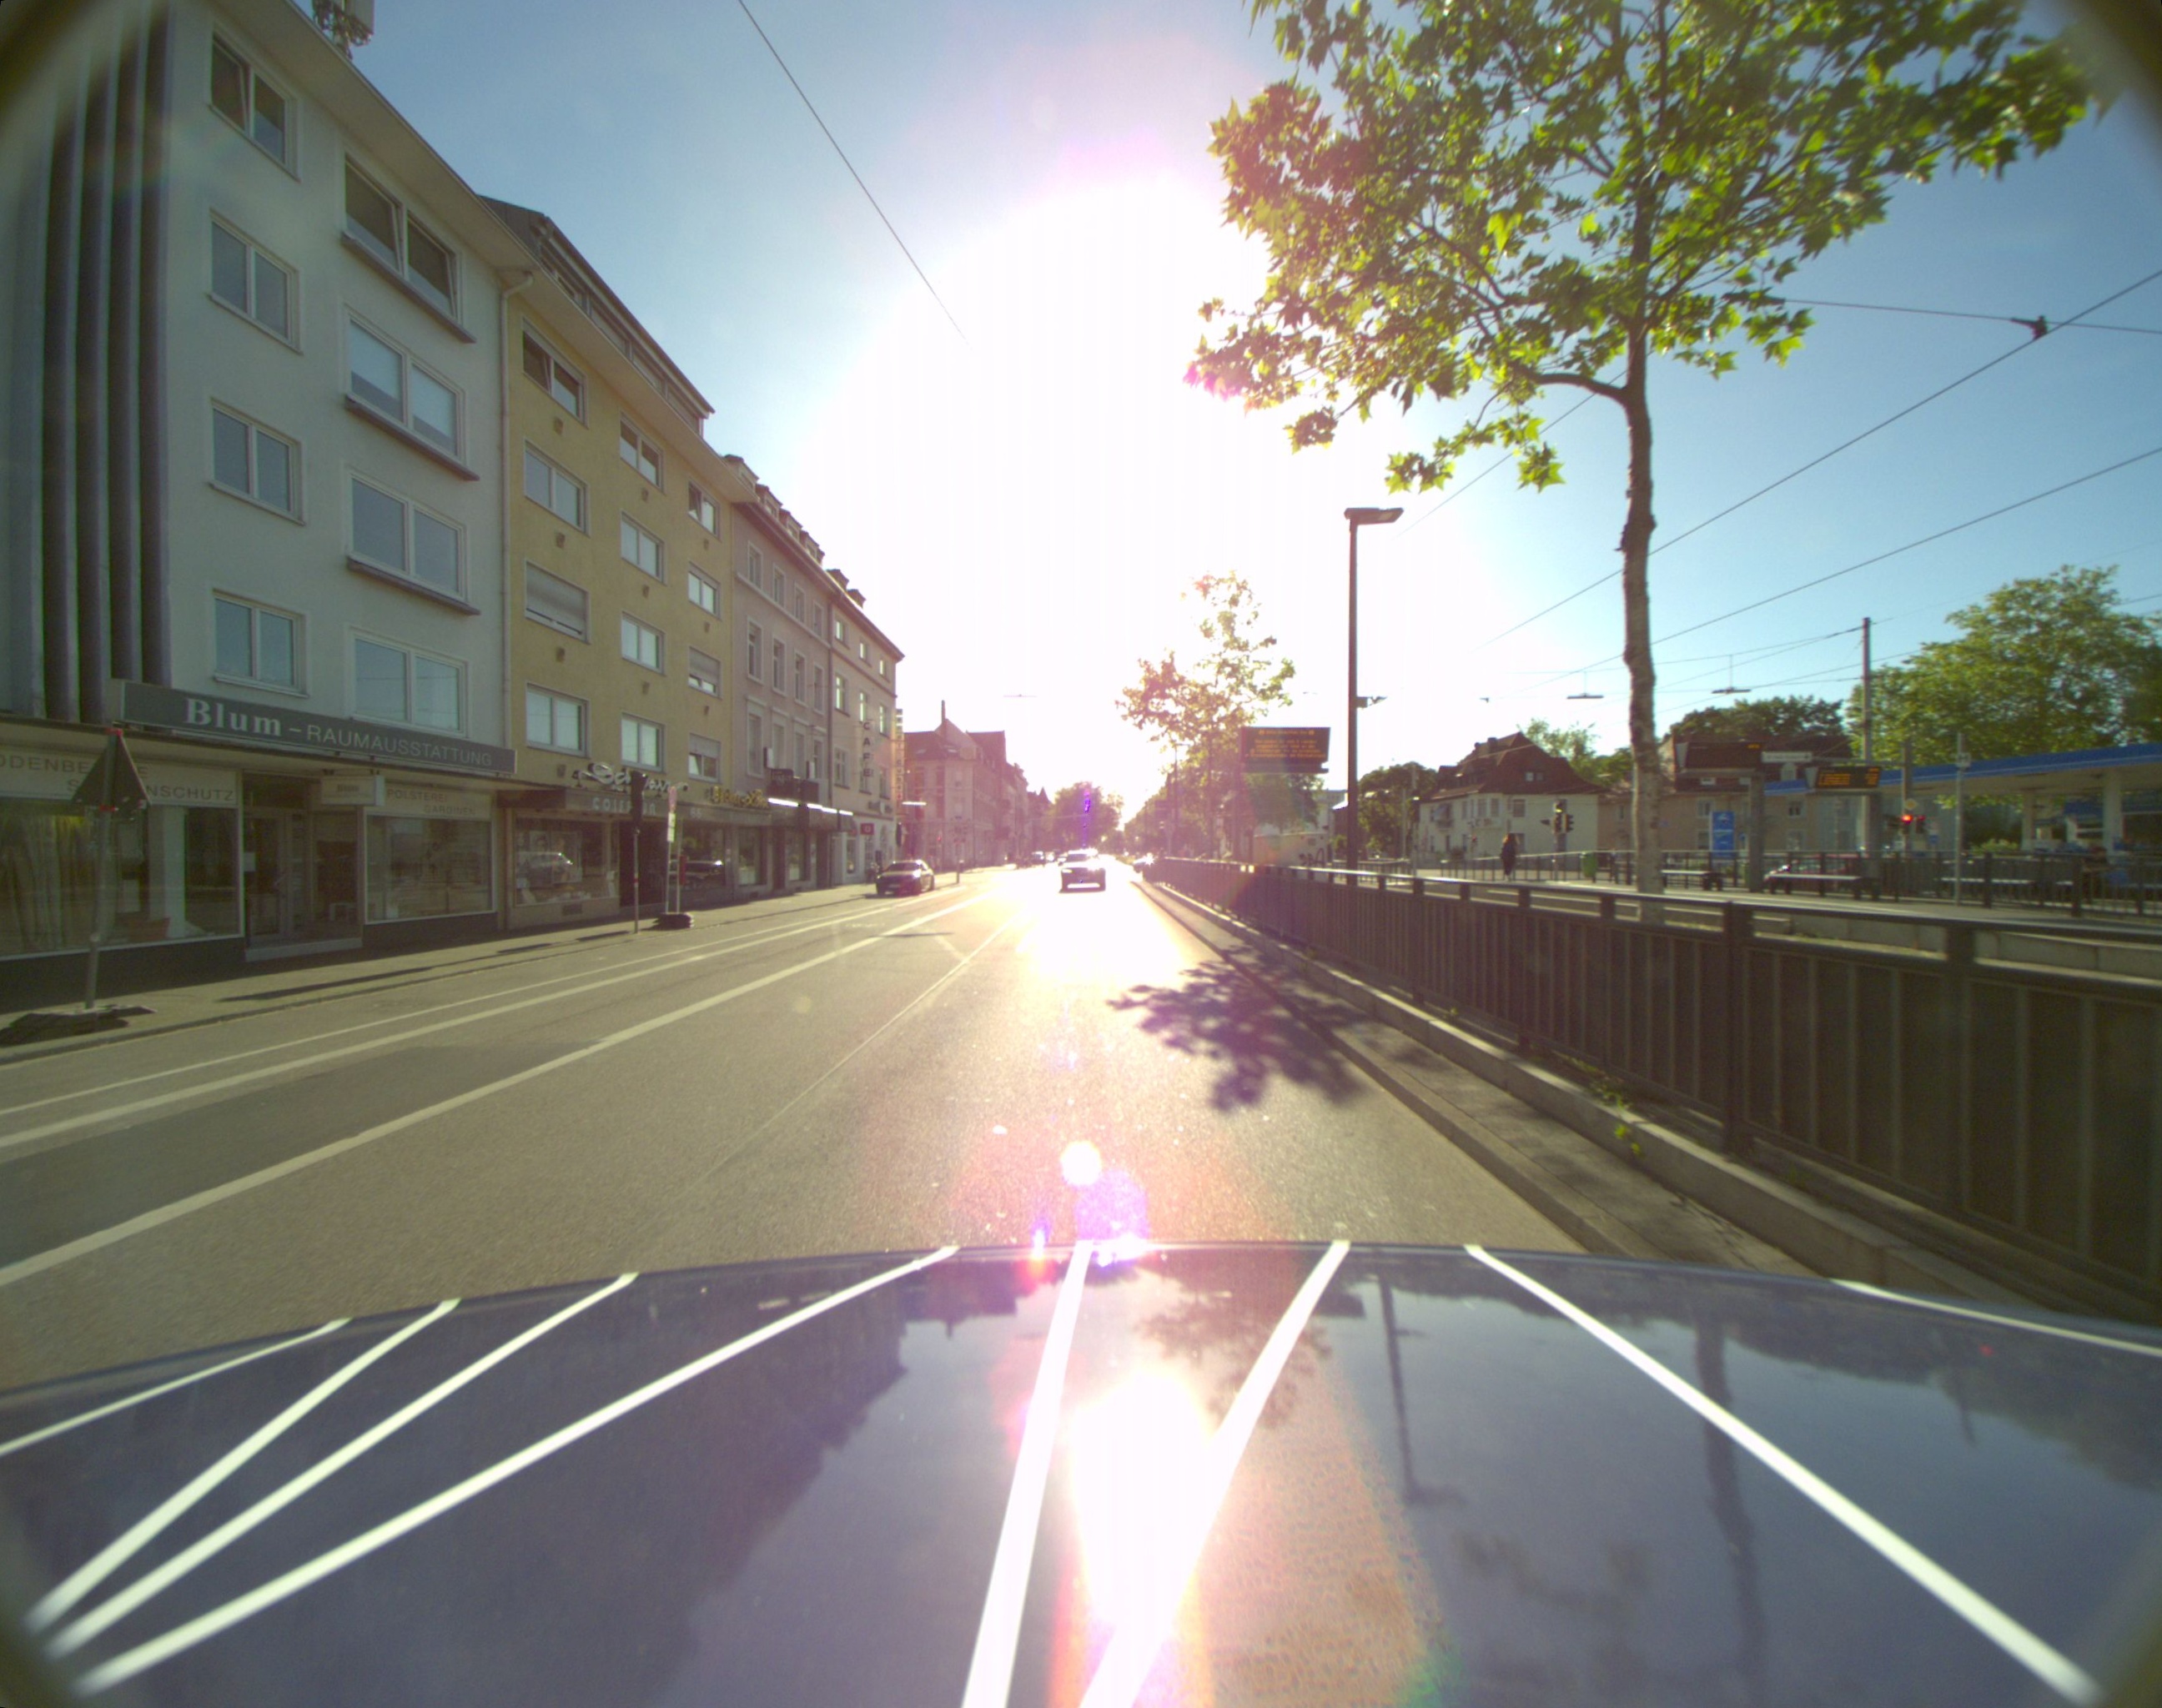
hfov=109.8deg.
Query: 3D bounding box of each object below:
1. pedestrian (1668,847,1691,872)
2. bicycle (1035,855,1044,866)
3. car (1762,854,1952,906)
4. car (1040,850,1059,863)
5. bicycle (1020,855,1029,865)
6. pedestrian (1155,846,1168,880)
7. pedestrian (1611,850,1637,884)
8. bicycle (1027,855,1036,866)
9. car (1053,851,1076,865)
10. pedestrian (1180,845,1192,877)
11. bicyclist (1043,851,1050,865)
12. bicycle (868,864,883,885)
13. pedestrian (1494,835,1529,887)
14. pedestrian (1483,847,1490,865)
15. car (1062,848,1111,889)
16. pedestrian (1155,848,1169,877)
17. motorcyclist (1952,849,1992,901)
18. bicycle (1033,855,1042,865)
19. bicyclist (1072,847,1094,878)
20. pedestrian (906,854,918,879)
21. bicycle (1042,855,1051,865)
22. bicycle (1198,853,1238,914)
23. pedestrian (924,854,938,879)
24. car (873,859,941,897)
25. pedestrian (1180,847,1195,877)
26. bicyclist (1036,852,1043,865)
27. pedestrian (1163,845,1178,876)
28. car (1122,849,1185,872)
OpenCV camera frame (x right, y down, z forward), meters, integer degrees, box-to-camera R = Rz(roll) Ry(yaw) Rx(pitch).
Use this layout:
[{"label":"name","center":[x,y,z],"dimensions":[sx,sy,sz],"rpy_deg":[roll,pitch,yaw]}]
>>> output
[{"label":"pedestrian","center":[36.998,0.338,46.970],"dimensions":[0.768,1.475,0.800],"rpy_deg":[0,1,-1]},{"label":"bicycle","center":[-4.963,0.752,90.498],"dimensions":[0.693,1.208,2.299],"rpy_deg":[0,1,6]},{"label":"car","center":[23.420,0.735,23.172],"dimensions":[1.802,1.412,4.000],"rpy_deg":[0,0,2]},{"label":"car","center":[-4.574,0.333,110.681],"dimensions":[2.295,1.716,4.595],"rpy_deg":[0,1,3]},{"label":"bicycle","center":[-6.579,0.707,88.565],"dimensions":[0.693,1.208,2.299],"rpy_deg":[0,1,6]},{"label":"pedestrian","center":[4.345,0.462,41.056],"dimensions":[0.637,1.817,0.776],"rpy_deg":[0,1,4]},{"label":"pedestrian","center":[27.114,0.644,37.951],"dimensions":[0.653,1.680,0.826],"rpy_deg":[-1,1,-7]},{"label":"bicycle","center":[-5.758,0.716,88.425],"dimensions":[0.693,1.208,2.299],"rpy_deg":[0,1,6]},{"label":"car","center":[-2.034,0.472,93.931],"dimensions":[2.294,1.566,4.595],"rpy_deg":[0,0,6]},{"label":"pedestrian","center":[6.080,0.389,43.911],"dimensions":[0.651,1.821,0.808],"rpy_deg":[0,1,4]},{"label":"bicyclist","center":[-4.039,0.437,88.873],"dimensions":[0.696,1.596,0.745],"rpy_deg":[0,1,6]},{"label":"bicycle","center":[-11.112,1.086,41.141],"dimensions":[0.697,1.102,1.863],"rpy_deg":[-1,1,-13]},{"label":"pedestrian","center":[13.312,0.209,23.506],"dimensions":[0.686,1.583,0.735],"rpy_deg":[0,1,2]},{"label":"pedestrian","center":[38.402,0.198,72.003],"dimensions":[0.417,1.733,0.409],"rpy_deg":[0,1,0]},{"label":"car","center":[0.214,0.577,33.290],"dimensions":[1.980,1.660,4.619],"rpy_deg":[-1,0,-1]},{"label":"pedestrian","center":[4.694,0.508,44.171],"dimensions":[0.799,1.680,0.776],"rpy_deg":[0,1,4]},{"label":"motorcyclist","center":[32.282,0.742,27.538],"dimensions":[0.552,1.842,0.745],"rpy_deg":[0,1,4]},{"label":"bicycle","center":[-5.022,0.680,88.373],"dimensions":[0.693,1.208,2.299],"rpy_deg":[0,1,6]},{"label":"bicyclist","center":[0.143,0.506,47.050],"dimensions":[1.005,1.872,0.991],"rpy_deg":[-1,1,-26]},{"label":"pedestrian","center":[-11.595,0.833,52.235],"dimensions":[0.663,1.680,0.677],"rpy_deg":[0,1,1]},{"label":"bicycle","center":[-3.998,0.677,88.175],"dimensions":[0.693,1.208,2.299],"rpy_deg":[0,1,6]},{"label":"bicycle","center":[3.260,0.657,18.252],"dimensions":[0.641,1.371,2.169],"rpy_deg":[0,1,2]},{"label":"pedestrian","center":[-10.213,0.860,51.752],"dimensions":[0.775,1.680,0.800],"rpy_deg":[-1,-1,0]},{"label":"car","center":[-7.602,1.003,33.616],"dimensions":[1.904,1.421,4.716],"rpy_deg":[-2,1,-1]},{"label":"pedestrian","center":[6.005,0.456,42.917],"dimensions":[0.803,1.680,1.008],"rpy_deg":[0,1,4]},{"label":"bicyclist","center":[-4.969,0.524,90.382],"dimensions":[0.696,1.596,0.745],"rpy_deg":[0,1,6]},{"label":"pedestrian","center":[4.987,0.363,42.401],"dimensions":[0.743,1.680,0.776],"rpy_deg":[0,1,4]},{"label":"car","center":[5.277,0.463,55.139],"dimensions":[4.280,1.595,1.995],"rpy_deg":[-1,1,-35]}]
